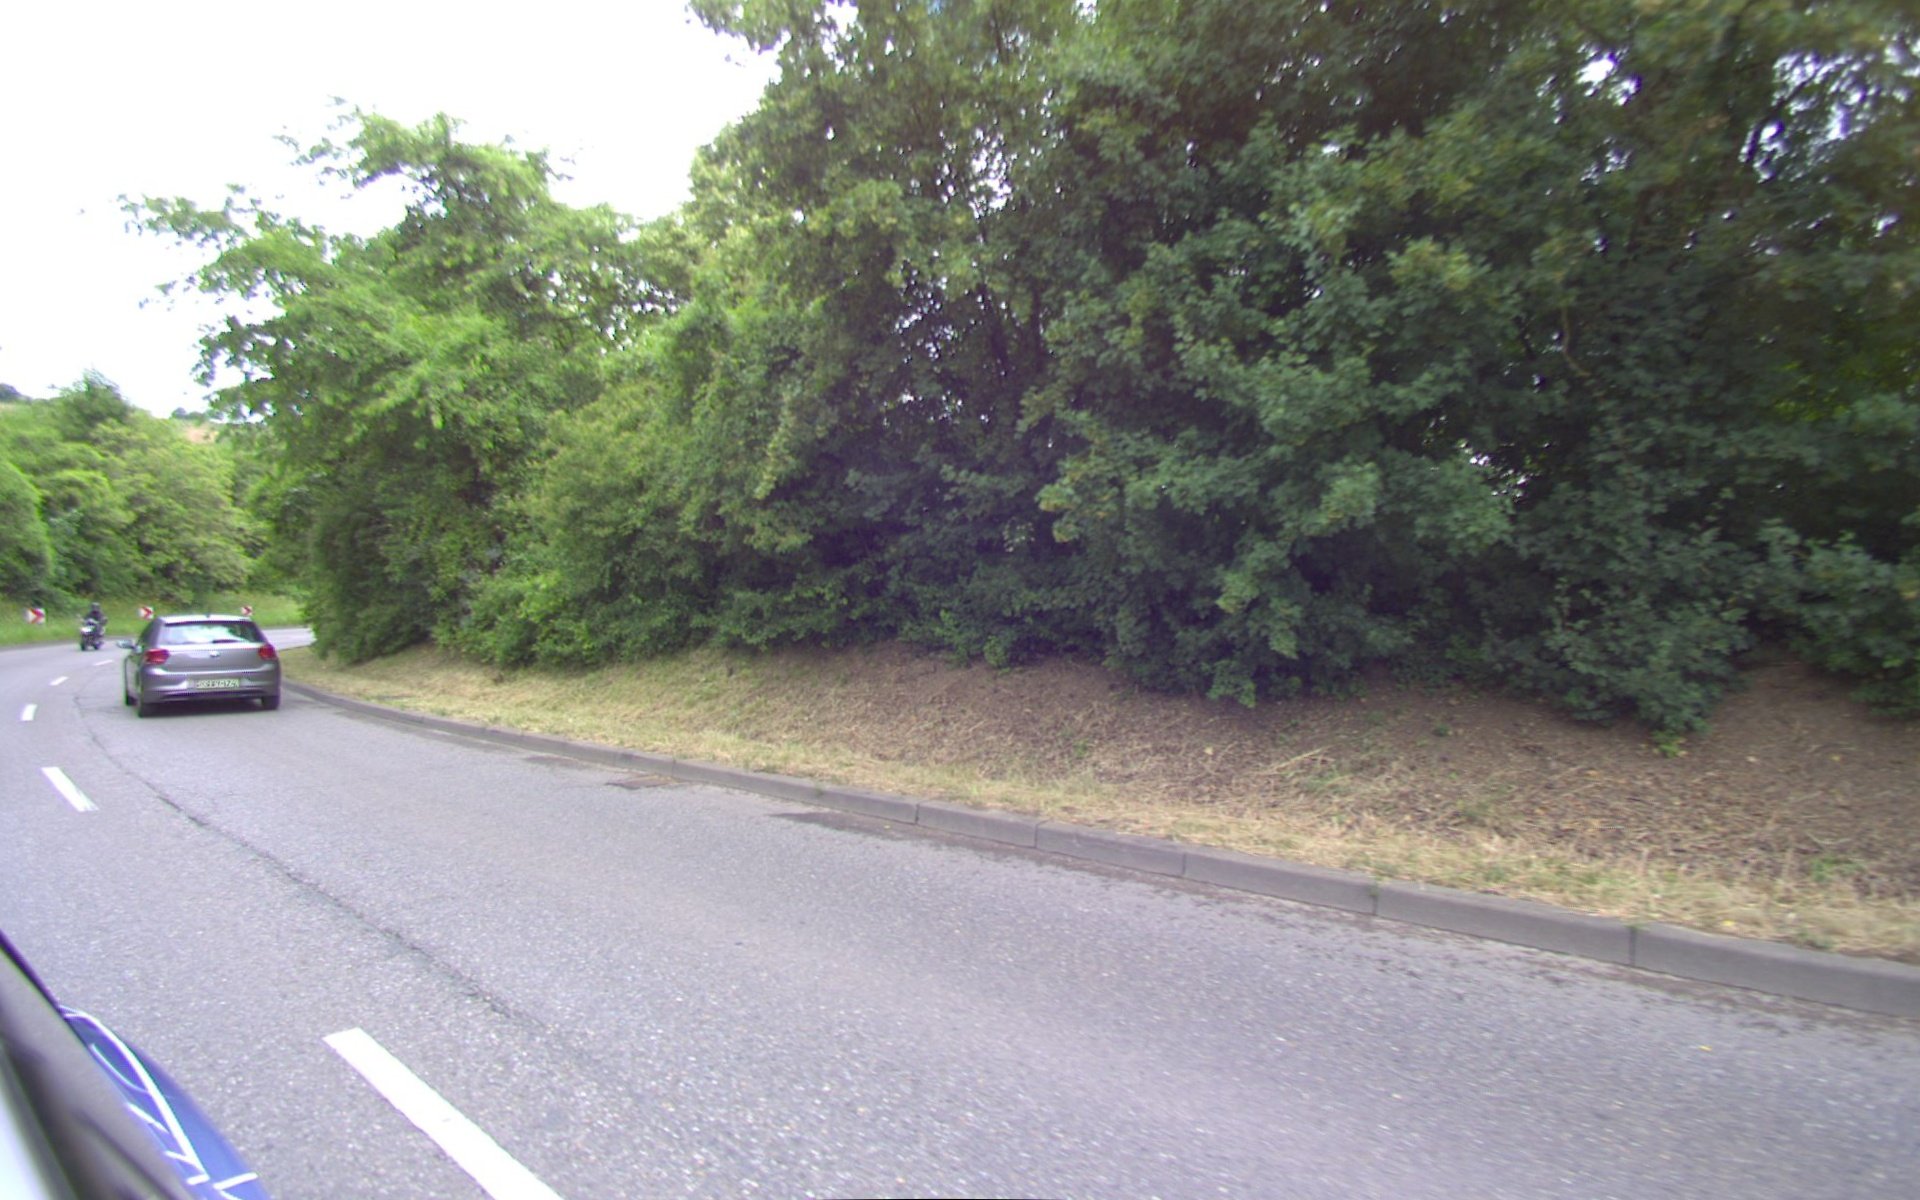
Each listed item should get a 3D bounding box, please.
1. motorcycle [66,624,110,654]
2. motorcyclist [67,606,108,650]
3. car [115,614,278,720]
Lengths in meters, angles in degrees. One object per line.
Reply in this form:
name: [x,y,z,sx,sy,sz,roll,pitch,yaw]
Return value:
motorcycle: [-30.463,1.357,35.382,0.691,0.983,1.700,3,-2,-24]
motorcyclist: [-30.383,0.965,35.262,0.805,1.477,0.789,3,-2,-24]
car: [-11.802,0.933,15.564,1.614,1.416,3.600,0,-1,-44]
